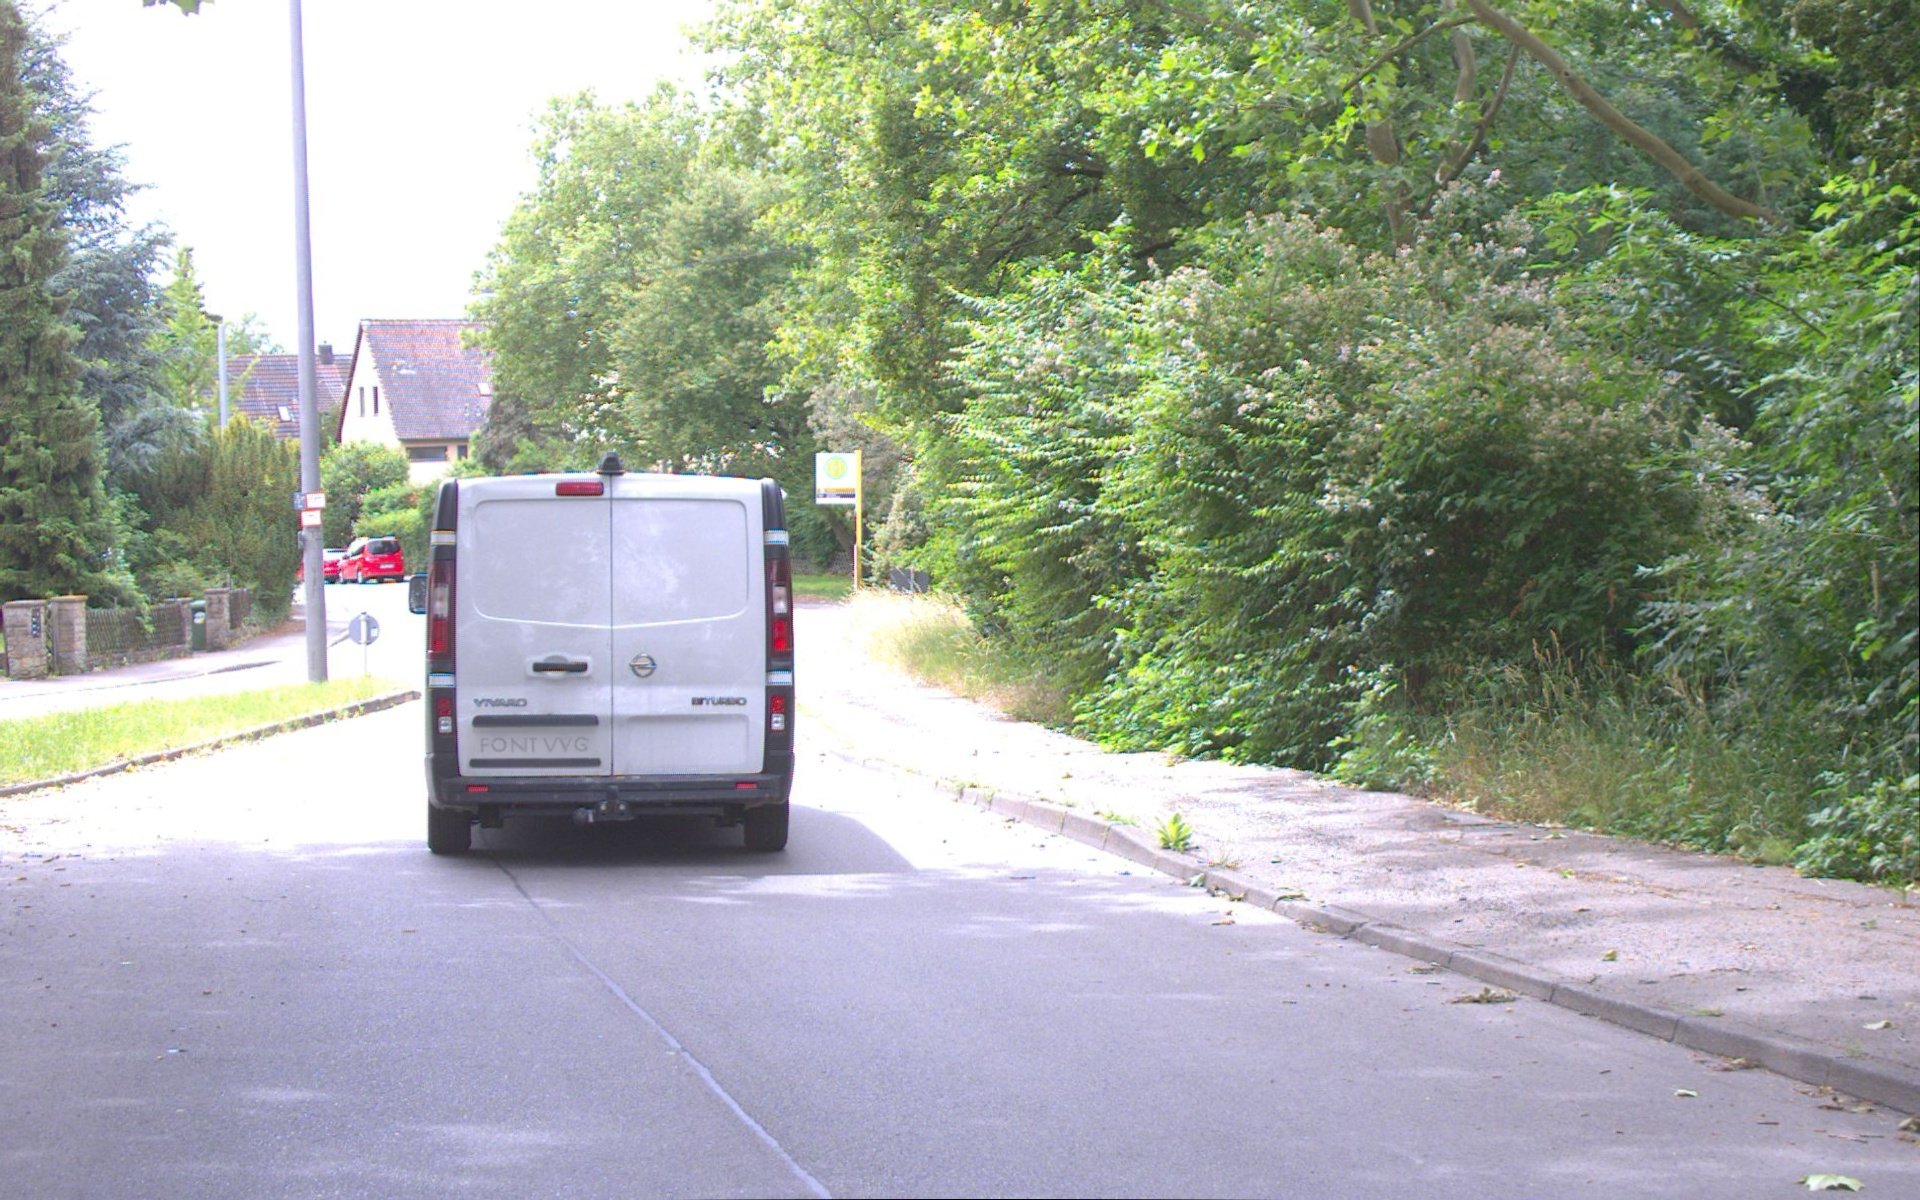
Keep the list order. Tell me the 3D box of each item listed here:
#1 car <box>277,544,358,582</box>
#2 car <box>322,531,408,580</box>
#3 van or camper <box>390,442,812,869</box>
[{"bbox_3d":[-25.775,-1.492,137.857,1.712,1.462,4.268,-3,2,-32],"label":"car"},{"bbox_3d":[-23.066,-1.726,133.122,1.760,1.791,4.949,-3,2,-28],"label":"car"},{"bbox_3d":[-2.121,0.151,19.026,1.923,2.006,4.831,-1,3,-10],"label":"van or camper"}]
